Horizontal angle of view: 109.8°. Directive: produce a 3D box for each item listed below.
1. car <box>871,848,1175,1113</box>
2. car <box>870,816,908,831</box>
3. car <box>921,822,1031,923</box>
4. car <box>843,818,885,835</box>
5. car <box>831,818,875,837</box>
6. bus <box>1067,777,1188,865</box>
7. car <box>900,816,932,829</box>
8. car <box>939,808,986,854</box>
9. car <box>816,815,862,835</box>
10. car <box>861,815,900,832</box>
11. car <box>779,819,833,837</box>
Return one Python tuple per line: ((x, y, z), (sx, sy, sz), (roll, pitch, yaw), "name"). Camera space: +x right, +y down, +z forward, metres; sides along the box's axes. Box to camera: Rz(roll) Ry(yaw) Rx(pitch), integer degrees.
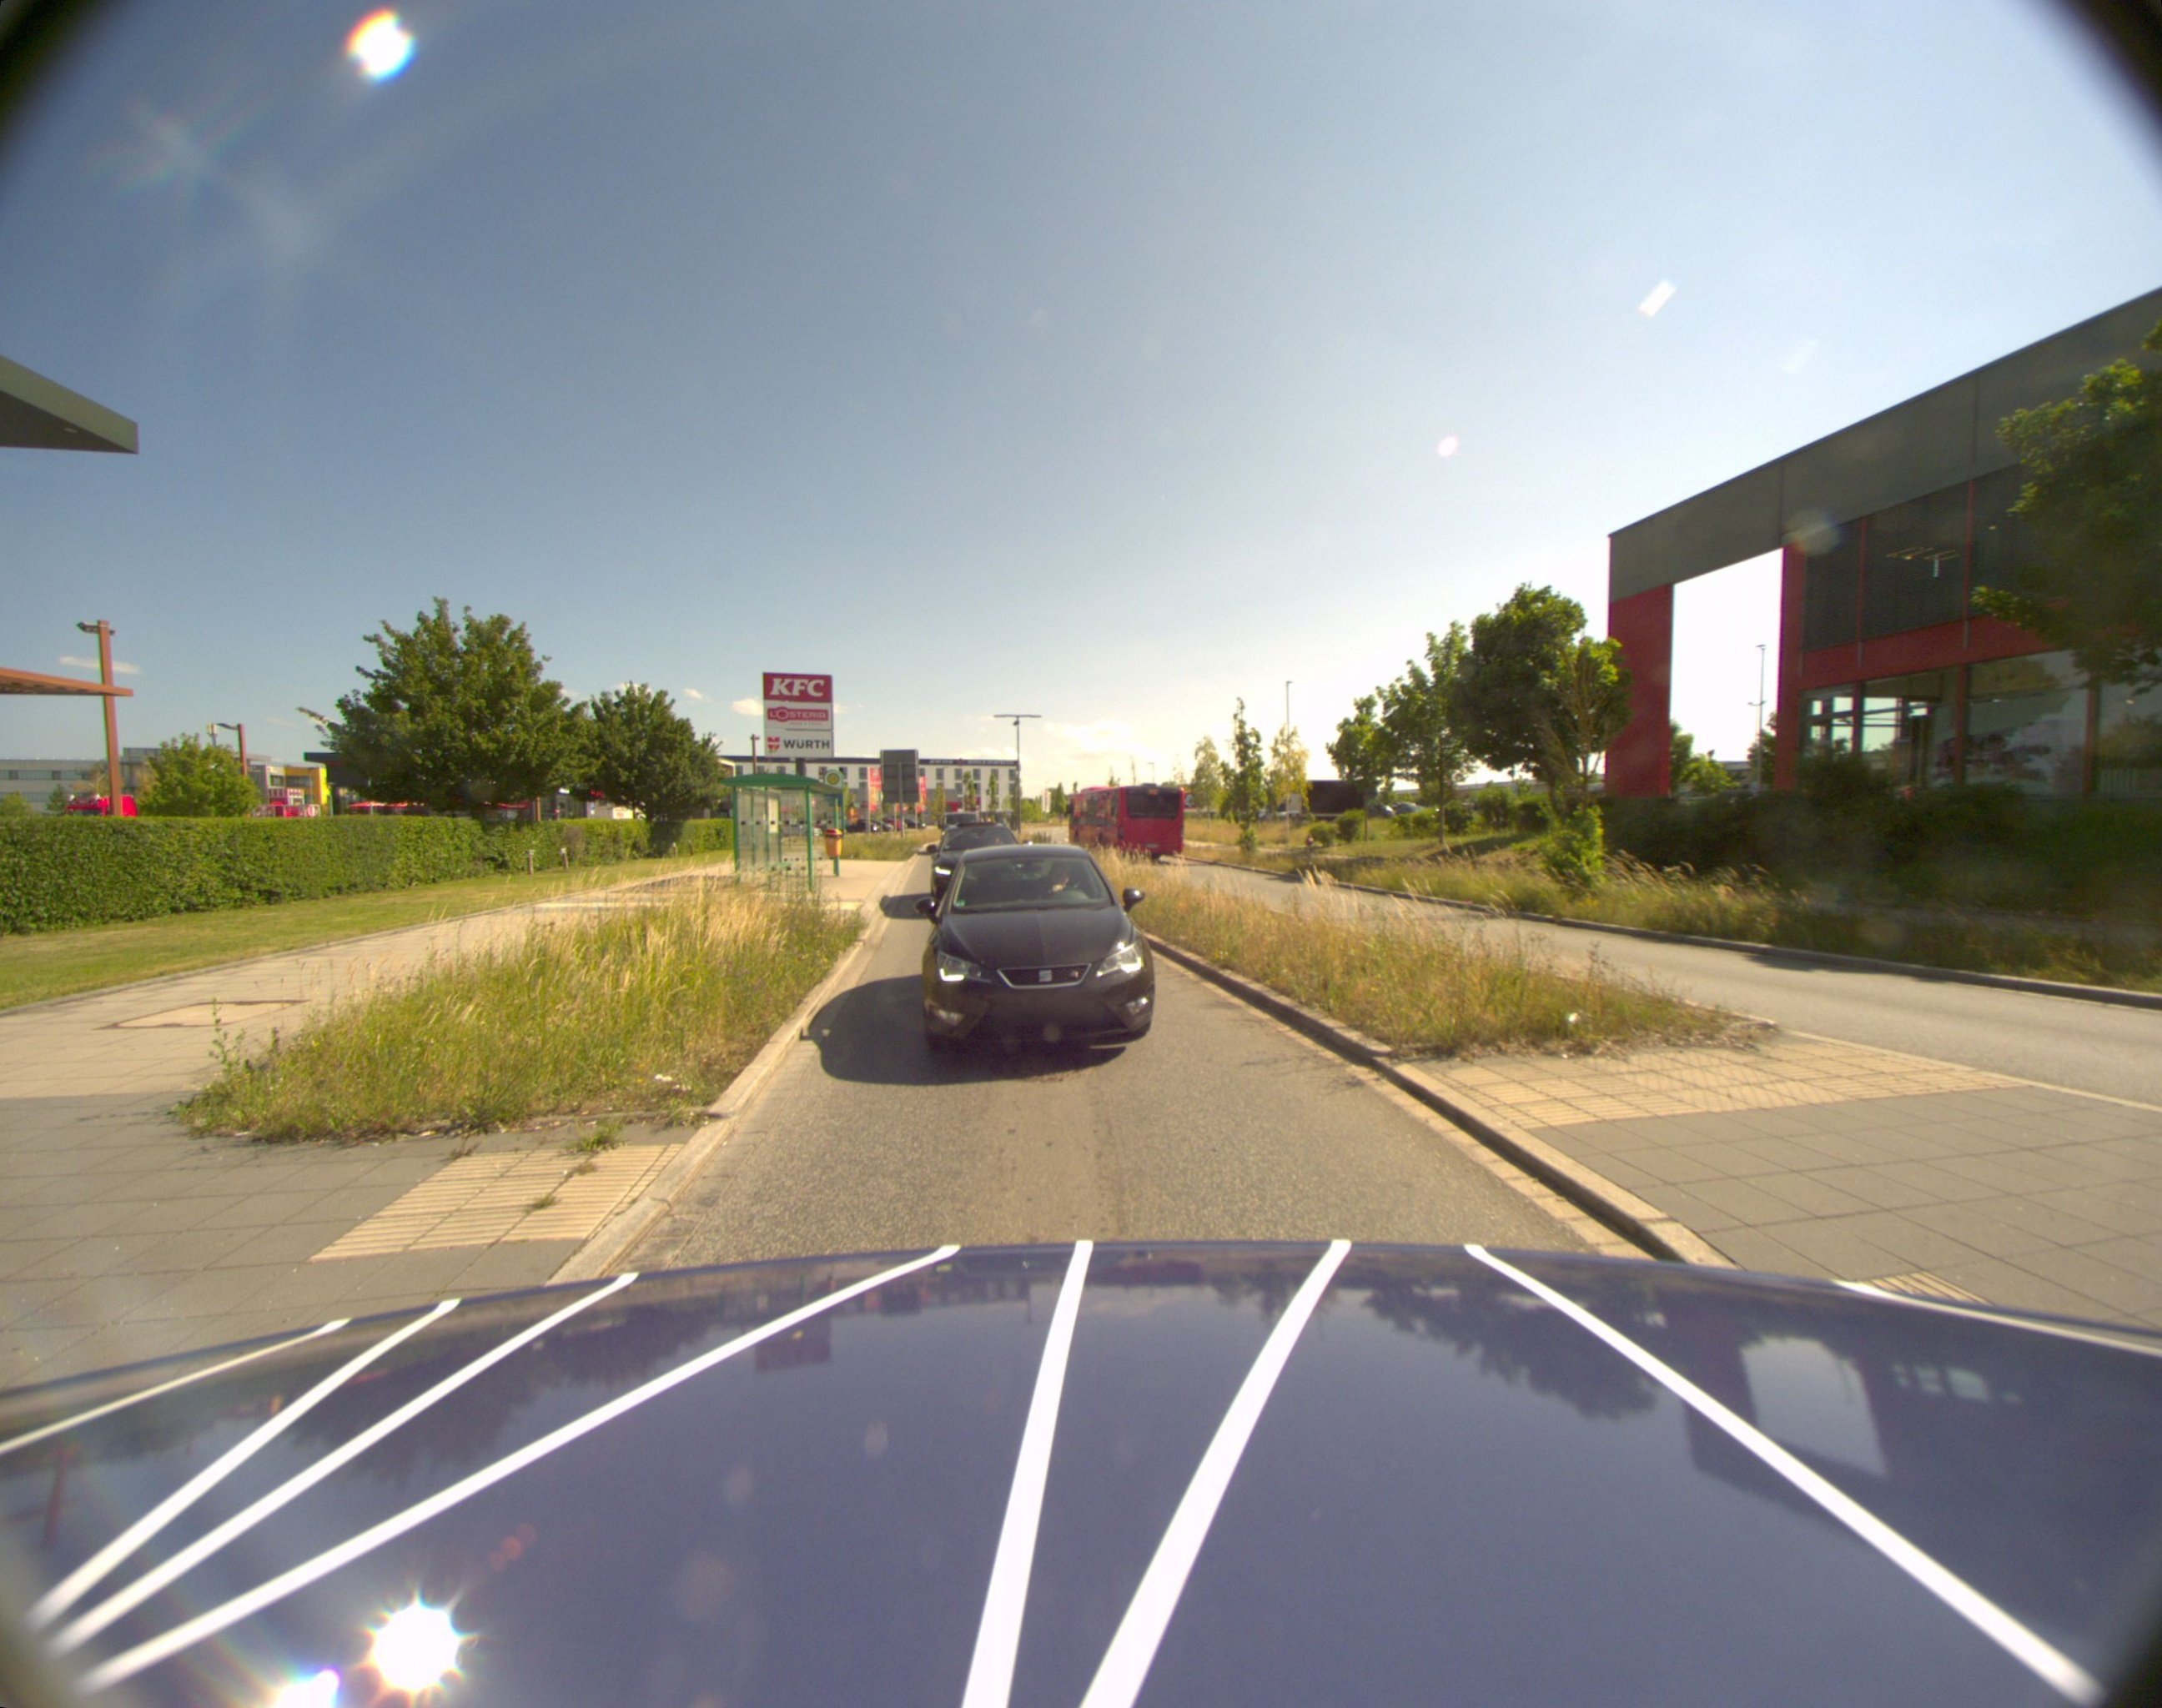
((-0.615, 0.753, 6.685), (1.863, 1.460, 3.995), (-1, 2, -8), "car")
((-23.939, -3.831, 94.975), (4.181, 1.752, 1.824), (0, 3, 8), "car")
((-2.128, 0.240, 15.620), (1.863, 1.679, 3.995), (-4, 3, -7), "car")
((-24.783, -3.128, 86.821), (4.181, 1.847, 1.803), (0, 3, 8), "car")
((-25.273, -2.951, 84.422), (4.182, 2.003, 1.933), (0, 3, 4), "car")
((1.634, -1.441, 33.885), (2.618, 3.224, 11.865), (-1, 2, -10), "bus")
((-22.076, -4.194, 101.566), (3.821, 1.611, 1.756), (0, 3, 4), "car")
((-5.896, -1.196, 38.152), (2.080, 2.037, 4.677), (-4, 3, -7), "car")
((-25.615, -3.096, 80.596), (4.182, 2.003, 1.933), (0, 3, 4), "car")
((-24.251, -3.744, 91.892), (4.183, 2.003, 1.933), (0, 3, 3), "car")
((-26.258, -2.541, 72.783), (4.441, 1.644, 1.932), (-1, 3, -3), "car")
